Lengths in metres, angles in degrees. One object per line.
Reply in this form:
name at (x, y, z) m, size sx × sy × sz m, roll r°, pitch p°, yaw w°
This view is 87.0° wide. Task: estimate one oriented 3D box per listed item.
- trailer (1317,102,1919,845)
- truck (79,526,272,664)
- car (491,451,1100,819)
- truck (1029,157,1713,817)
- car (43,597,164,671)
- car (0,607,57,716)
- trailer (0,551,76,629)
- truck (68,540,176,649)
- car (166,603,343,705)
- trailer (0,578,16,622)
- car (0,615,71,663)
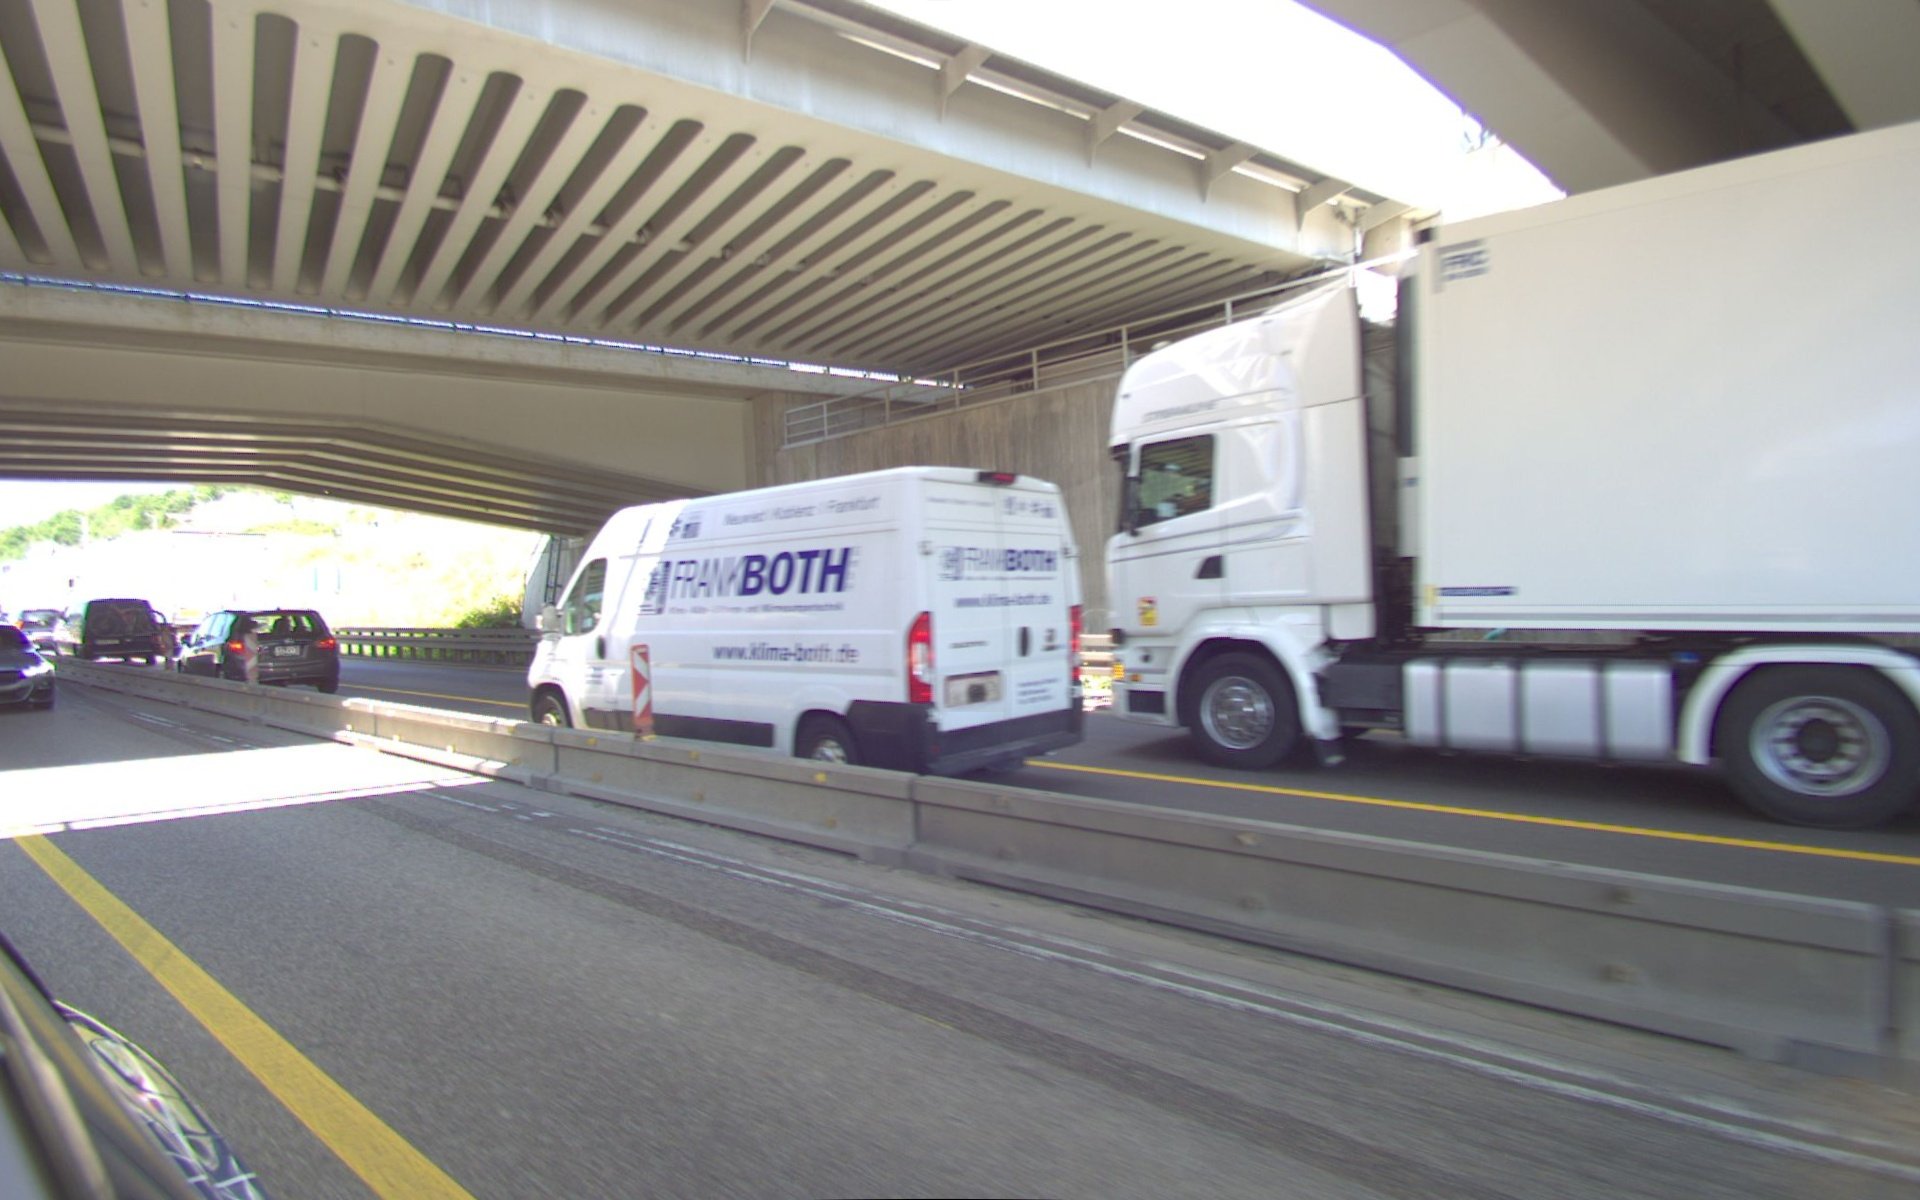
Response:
trailer at (9.201, -0.814, 4.207) m, size 14.341 × 4.070 × 2.849 m, roll -2°, pitch 1°, yaw 39°
truck at (-29.070, -0.242, 37.106) m, size 13.479 × 4.345 × 2.741 m, roll 1°, pitch 1°, yaw 40°
car at (-1.845, 0.242, 9.161) m, size 6.053 × 2.347 × 1.961 m, roll -1°, pitch 0°, yaw 40°
truck at (3.481, -0.699, 8.927) m, size 4.880 × 4.081 × 2.845 m, roll -2°, pitch 1°, yaw 39°
car at (-24.531, 0.919, 28.926) m, size 4.963 × 1.947 × 1.782 m, roll -1°, pitch 0°, yaw 39°
car at (-16.190, 0.937, 16.422) m, size 4.388 × 1.609 × 1.814 m, roll 0°, pitch 1°, yaw 42°
trailer at (-53.541, -0.611, 58.325) m, size 8.239 × 4.205 × 2.784 m, roll 1°, pitch 1°, yaw 41°
truck at (-34.476, -0.263, 41.579) m, size 5.185 × 4.202 × 2.631 m, roll 1°, pitch 1°, yaw 41°
car at (-12.881, 0.902, 18.396) m, size 4.140 × 1.622 × 1.730 m, roll -1°, pitch 0°, yaw 42°
trailer at (-88.554, -0.064, 92.817) m, size 2.625 × 3.844 × 11.830 m, roll -1°, pitch 1°, yaw -44°
car at (-35.381, 1.452, 38.497) m, size 4.521 × 1.622 × 1.704 m, roll -1°, pitch 1°, yaw 41°
